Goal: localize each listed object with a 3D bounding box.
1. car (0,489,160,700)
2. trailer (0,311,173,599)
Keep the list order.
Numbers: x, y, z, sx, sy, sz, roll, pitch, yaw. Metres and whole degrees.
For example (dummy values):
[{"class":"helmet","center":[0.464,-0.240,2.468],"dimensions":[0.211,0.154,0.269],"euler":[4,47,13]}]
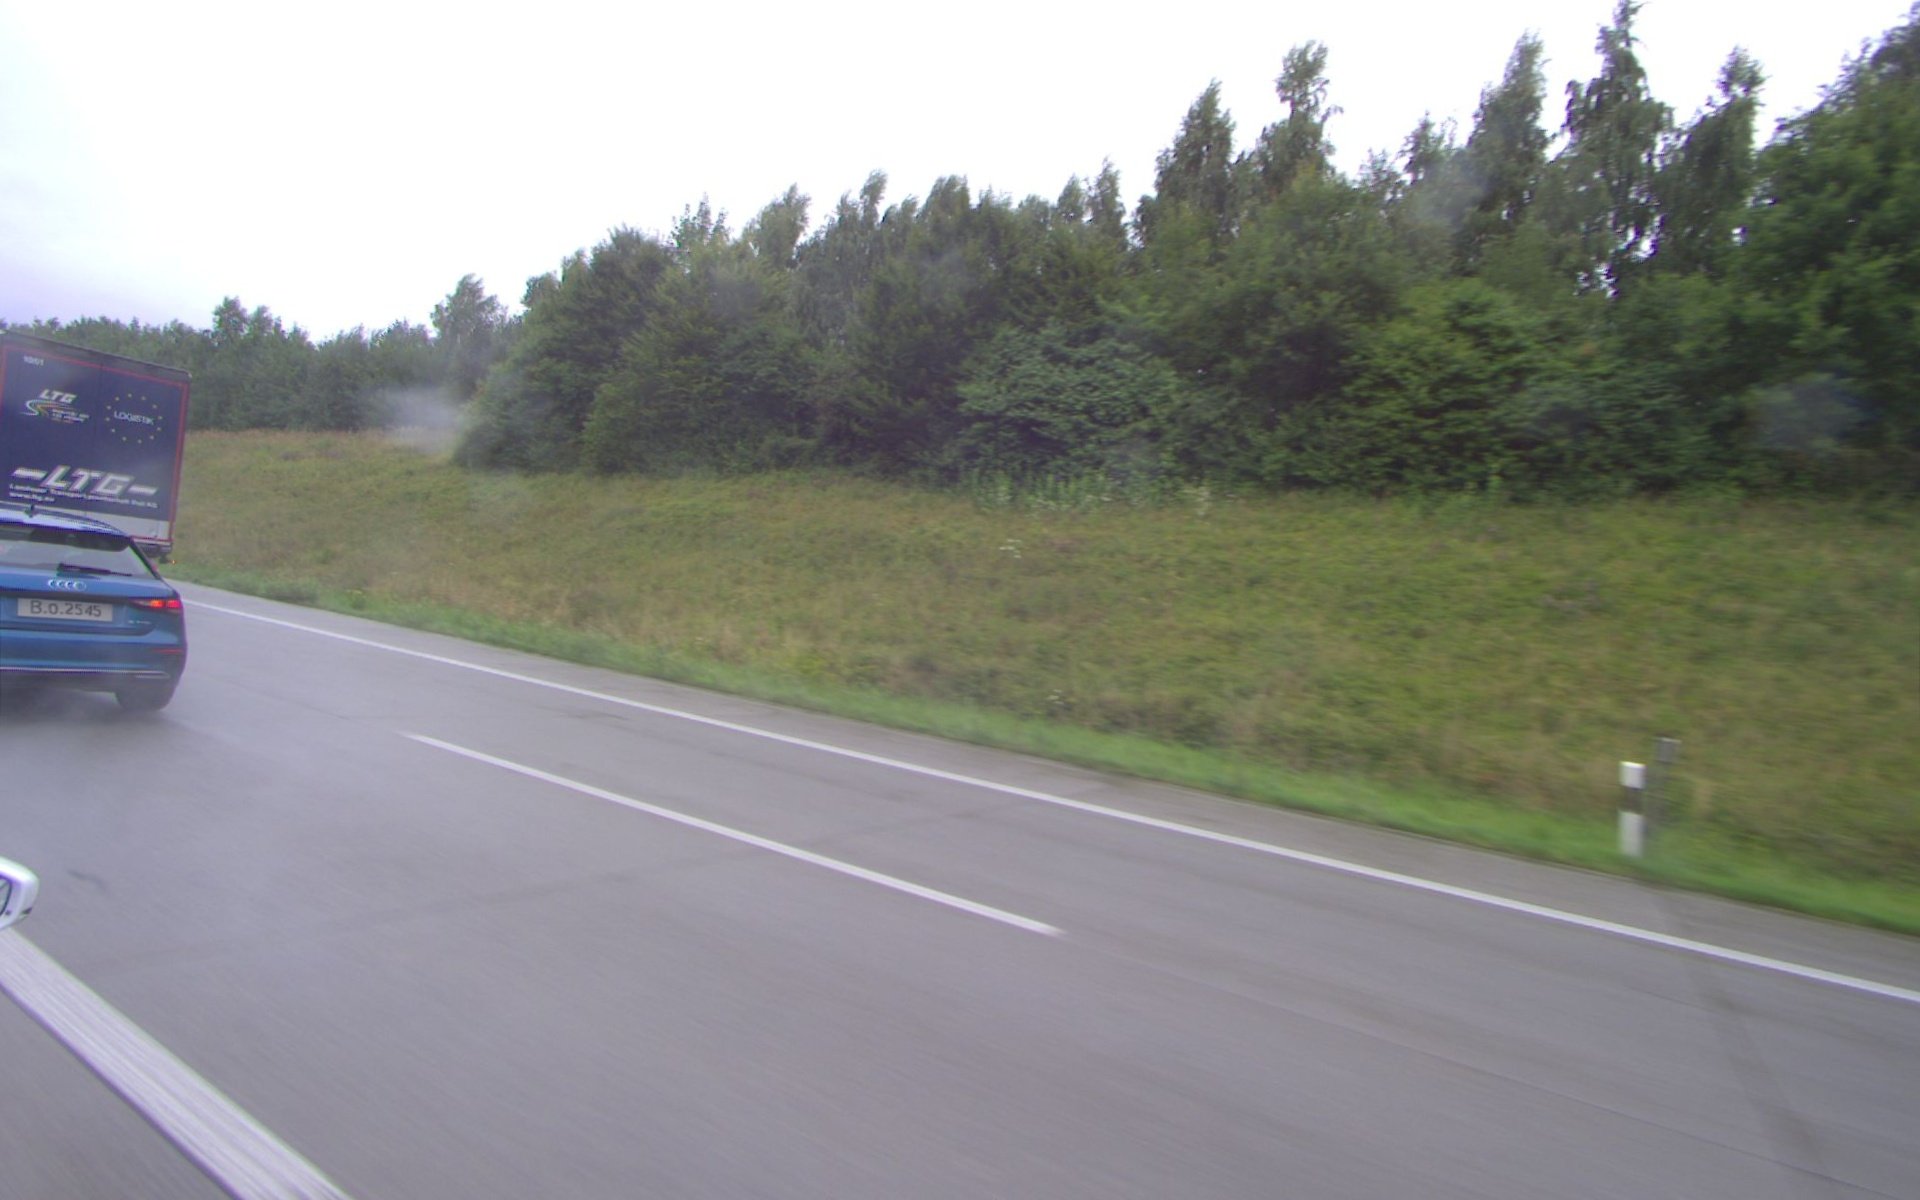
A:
[{"class":"car","center":[-8.653,-0.218,8.266],"dimensions":[4.595,1.477,1.731],"euler":[6,-1,32]},{"class":"trailer","center":[-21.466,-3.047,21.031],"dimensions":[14.955,4.431,2.711],"euler":[6,-1,32]}]
